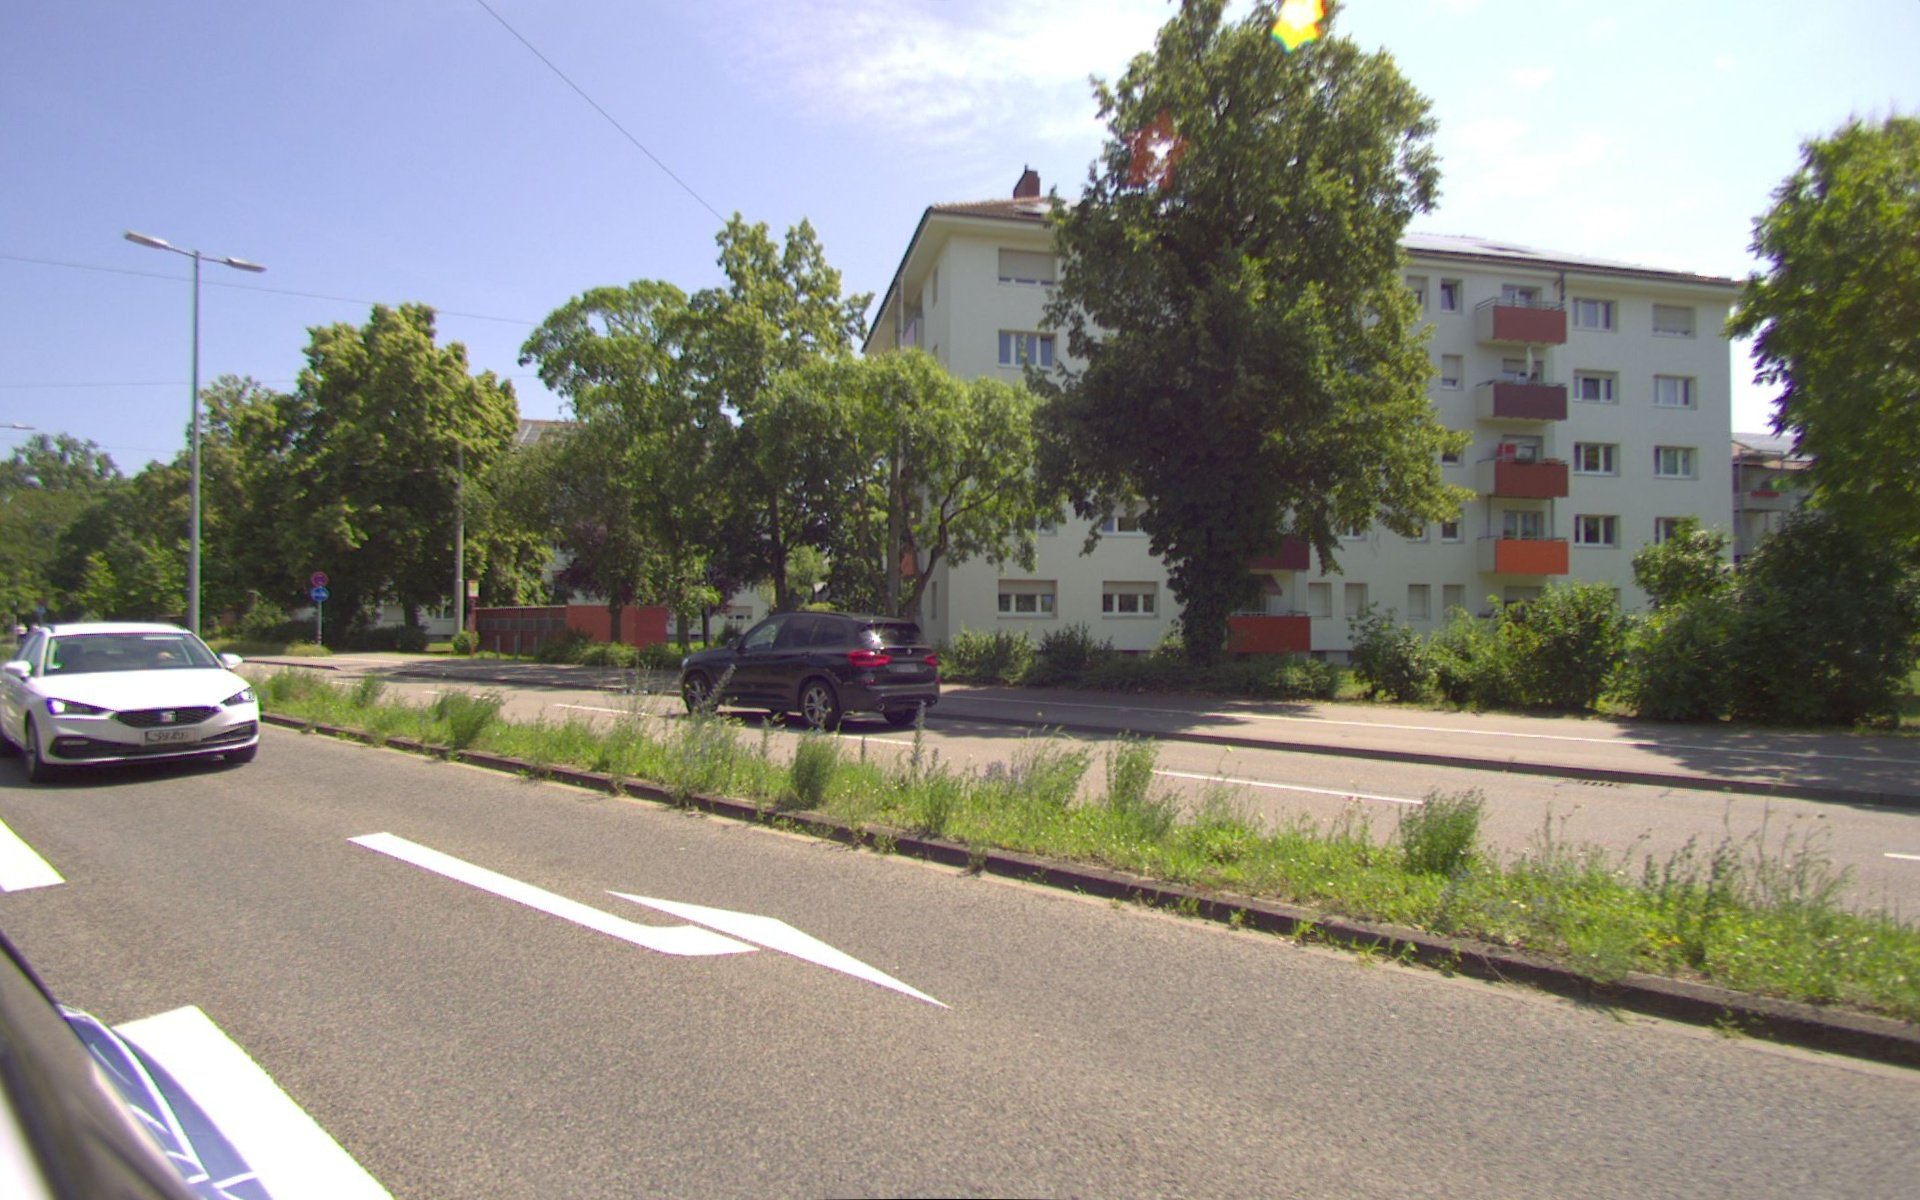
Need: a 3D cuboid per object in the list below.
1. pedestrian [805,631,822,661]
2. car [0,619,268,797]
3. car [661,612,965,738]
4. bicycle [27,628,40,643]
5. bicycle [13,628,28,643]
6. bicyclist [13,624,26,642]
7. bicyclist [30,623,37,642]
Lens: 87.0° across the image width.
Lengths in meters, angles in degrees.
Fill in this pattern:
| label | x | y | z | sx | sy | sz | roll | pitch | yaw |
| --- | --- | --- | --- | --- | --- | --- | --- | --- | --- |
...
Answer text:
| label | x | y | z | sx | sy | sz | roll | pitch | yaw |
| --- | --- | --- | --- | --- | --- | --- | --- | --- | --- |
| pedestrian | -7.155 | 2.223 | 49.416 | 0.688 | 1.442 | 0.468 | -2 | -3 | 42 |
| car | -8.924 | 0.971 | 10.653 | 4.109 | 1.479 | 1.749 | -1 | -1 | 41 |
| car | -2.358 | 1.045 | 15.455 | 4.753 | 1.638 | 1.903 | -1 | -3 | 40 |
| bicycle | -70.996 | 2.737 | 77.570 | 1.378 | 1.103 | 0.548 | 0 | 0 | 39 |
| bicycle | -71.286 | 2.695 | 76.796 | 1.613 | 1.142 | 0.582 | -2 | -3 | 38 |
| bicyclist | -71.651 | 2.521 | 77.098 | 0.754 | 1.356 | 0.539 | -2 | -3 | 37 |
| bicyclist | -70.959 | 2.494 | 77.521 | 0.440 | 1.402 | 0.354 | -2 | -1 | 40 |
